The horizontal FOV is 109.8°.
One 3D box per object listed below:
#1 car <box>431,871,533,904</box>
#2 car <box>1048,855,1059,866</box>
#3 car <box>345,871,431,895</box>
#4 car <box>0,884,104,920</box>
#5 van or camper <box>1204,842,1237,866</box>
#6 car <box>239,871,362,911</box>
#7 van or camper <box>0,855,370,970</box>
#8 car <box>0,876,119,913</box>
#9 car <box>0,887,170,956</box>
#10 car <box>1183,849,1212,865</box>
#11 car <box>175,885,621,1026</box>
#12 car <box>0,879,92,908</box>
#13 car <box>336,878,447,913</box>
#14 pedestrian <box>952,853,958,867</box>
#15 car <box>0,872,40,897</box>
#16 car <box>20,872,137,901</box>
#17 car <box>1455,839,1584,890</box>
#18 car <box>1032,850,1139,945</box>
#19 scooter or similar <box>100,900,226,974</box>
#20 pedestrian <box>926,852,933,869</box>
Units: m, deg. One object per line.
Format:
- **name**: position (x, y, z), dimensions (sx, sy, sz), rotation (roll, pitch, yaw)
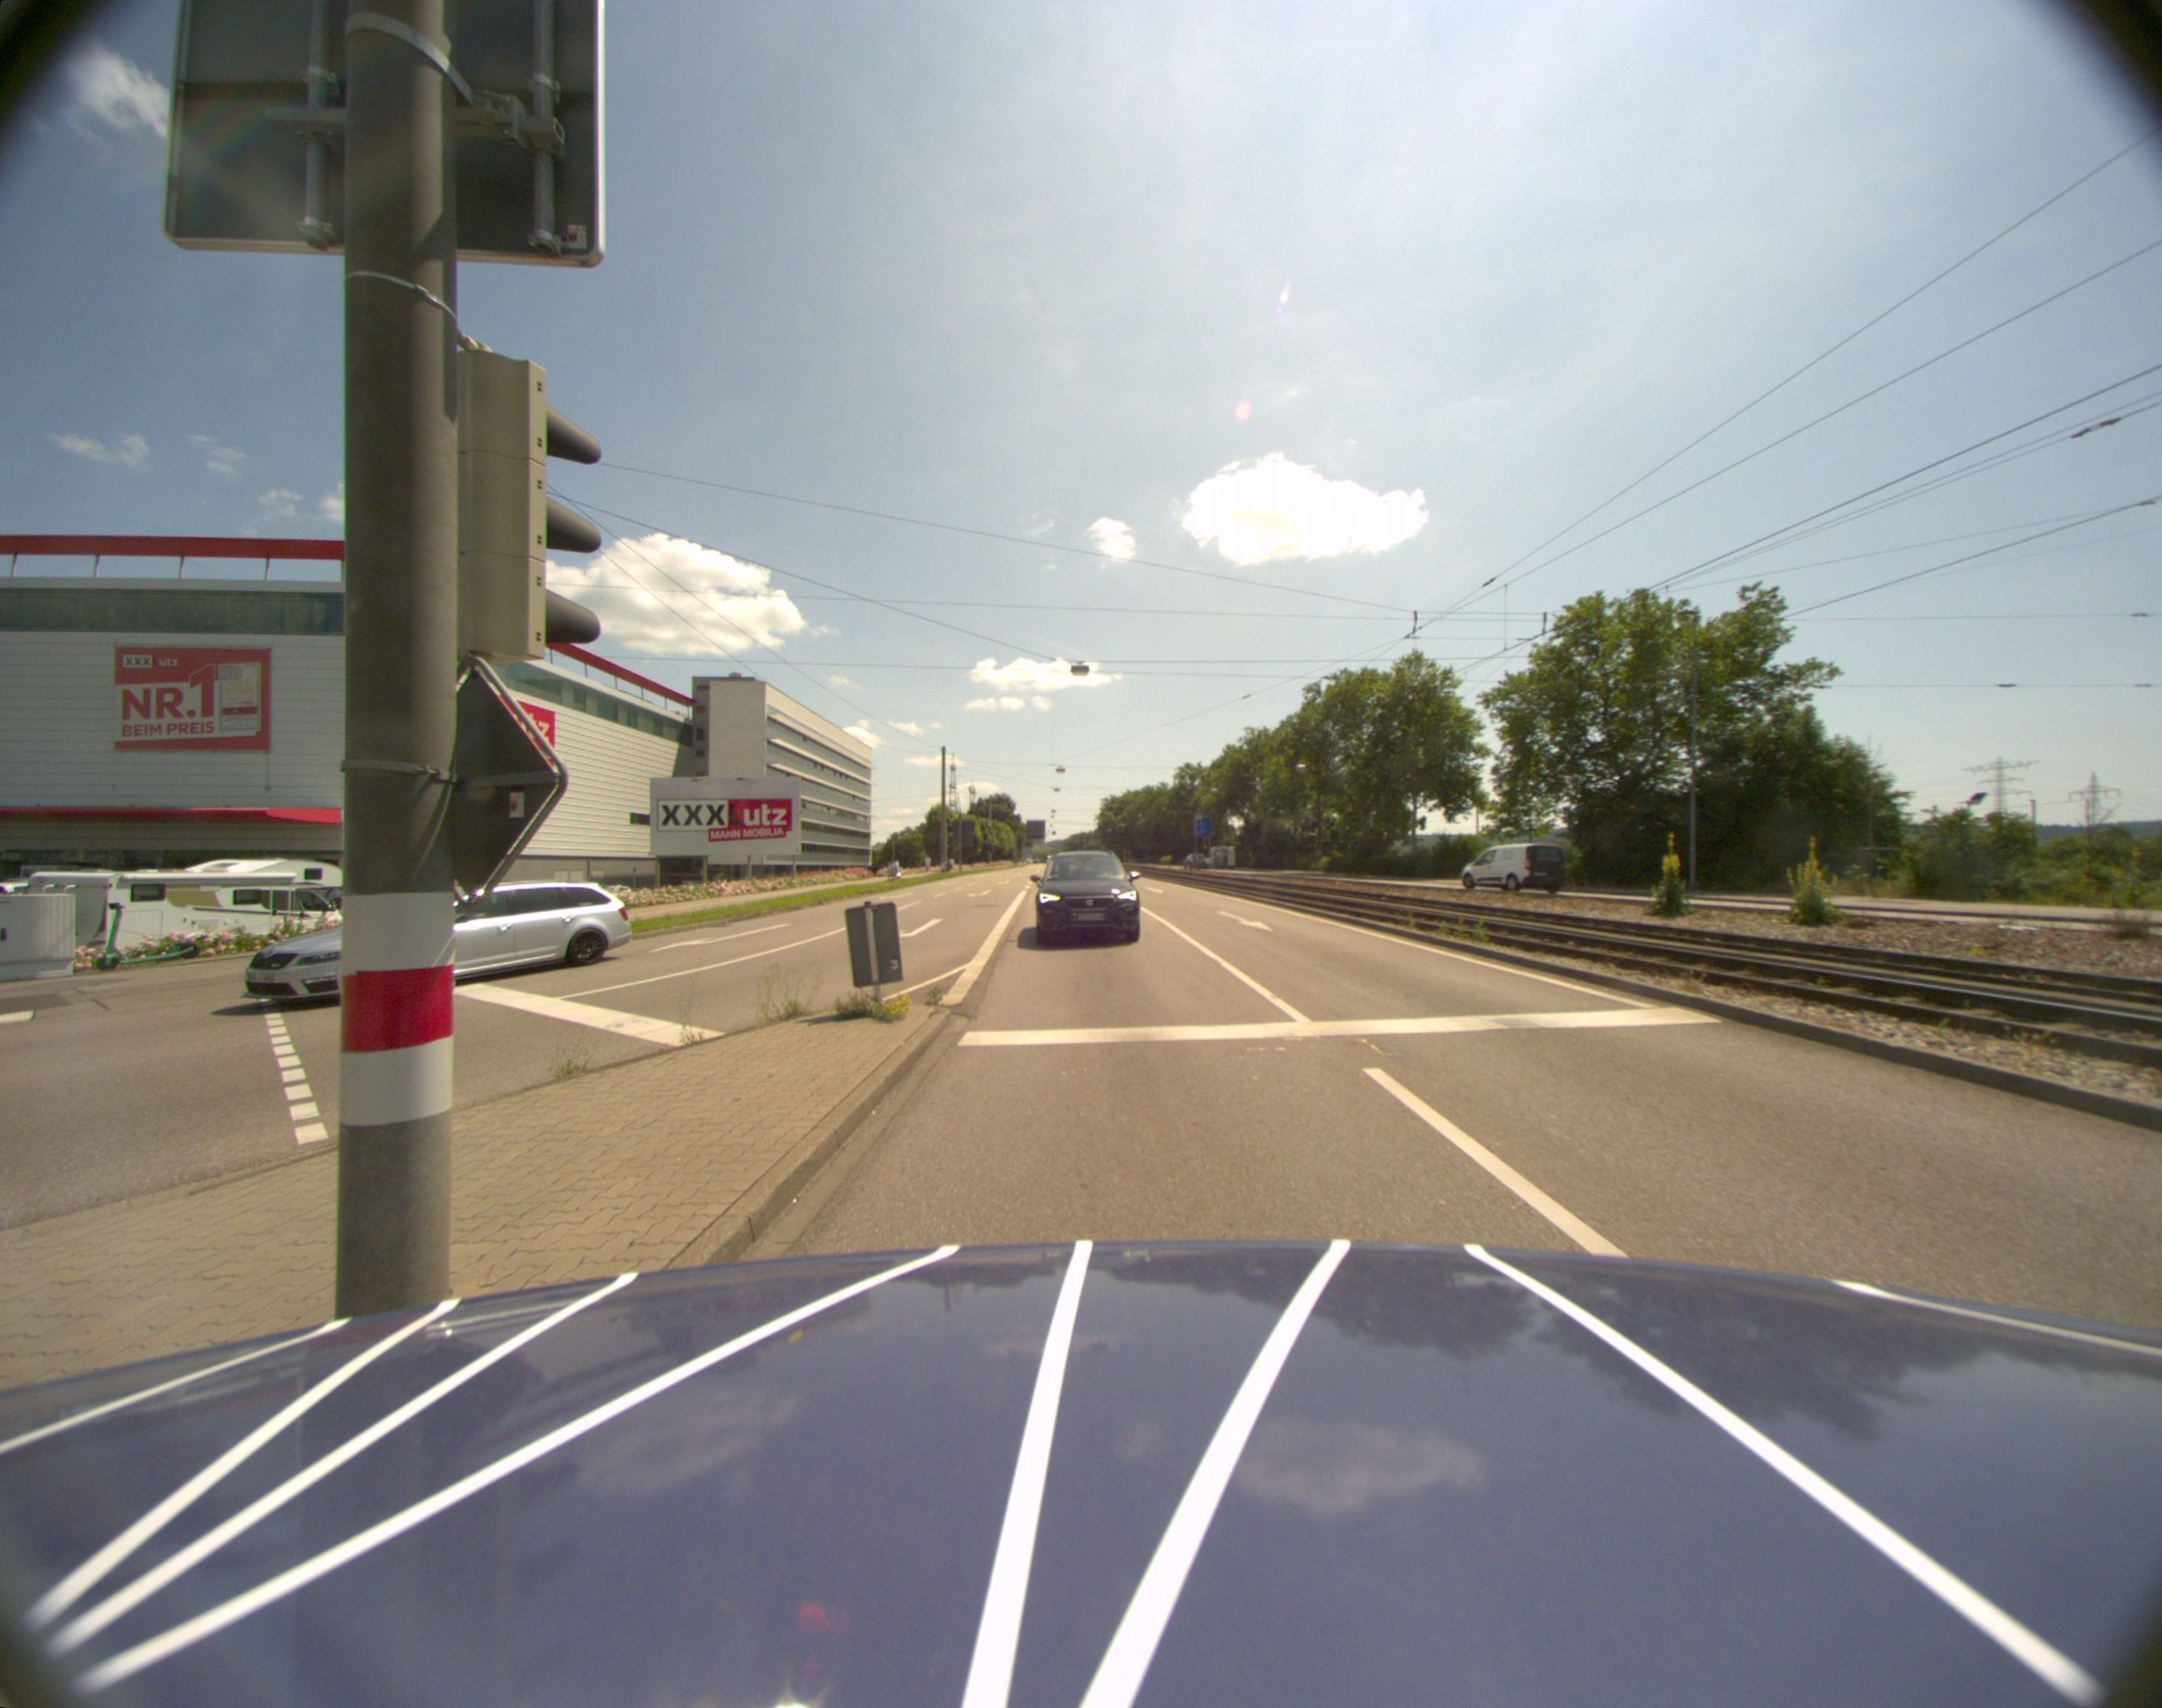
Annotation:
- **car**: position (-32.914, 1.803, 41.938), dimensions (1.999, 1.554, 4.519), rotation (-1, 0, -1)
- **car**: position (-5.070, 1.195, 140.879), dimensions (1.819, 1.829, 4.000), rotation (-1, 0, 2)
- **car**: position (-46.391, 1.895, 50.993), dimensions (1.698, 1.392, 4.518), rotation (-2, 0, -2)
- **car**: position (-50.141, 2.289, 36.125), dimensions (1.859, 1.404, 4.254), rotation (-2, 1, -1)
- **van or camper**: position (15.533, -0.019, 84.830), dimensions (2.000, 2.571, 5.840), rotation (1, 0, -6)
- **car**: position (-42.442, 1.980, 41.501), dimensions (1.999, 1.884, 4.519), rotation (-2, 0, -1)
- **van or camper**: position (-27.824, 1.578, 24.365), dimensions (2.716, 2.929, 7.612), rotation (-2, 1, 0)
- **car**: position (-55.245, 2.140, 40.546), dimensions (1.999, 1.724, 4.519), rotation (-2, 0, -1)
- **car**: position (-34.937, 2.227, 26.041), dimensions (1.998, 2.002, 4.453), rotation (-1, 0, 1)
- **car**: position (12.283, 0.300, 80.380), dimensions (2.000, 1.627, 4.262), rotation (2, 0, -7)
- **car**: position (-9.408, 1.263, 11.060), dimensions (1.799, 1.390, 4.466), rotation (-1, 0, 19)
- **car**: position (-70.831, 2.663, 51.409), dimensions (1.999, 1.683, 4.518), rotation (-2, 0, -3)
- **car**: position (-37.686, 2.229, 41.709), dimensions (1.999, 1.546, 4.519), rotation (-2, 0, -1)
- **pedestrian**: position (-14.760, 0.697, 88.880), dimensions (0.599, 1.645, 0.634), rotation (-2, 1, -2)
- **car**: position (-74.219, 2.113, 51.174), dimensions (1.999, 1.683, 4.518), rotation (-2, 0, -3)
- **car**: position (-67.682, 2.160, 51.430), dimensions (1.999, 1.683, 4.518), rotation (-2, 0, -3)
- **car**: position (16.808, 0.416, 29.426), dimensions (2.000, 1.827, 4.431), rotation (0, -1, -8)
- **car**: position (0.023, 0.746, 15.171), dimensions (1.820, 1.583, 3.999), rotation (-1, 0, -2)
- **scooter or similar**: position (-16.485, 1.464, 13.676), dimensions (0.479, 1.120, 1.280), rotation (-1, 4, 26)
- **pedestrian**: position (-15.560, 0.664, 78.188), dimensions (0.518, 1.783, 0.634), rotation (-2, 1, -2)
